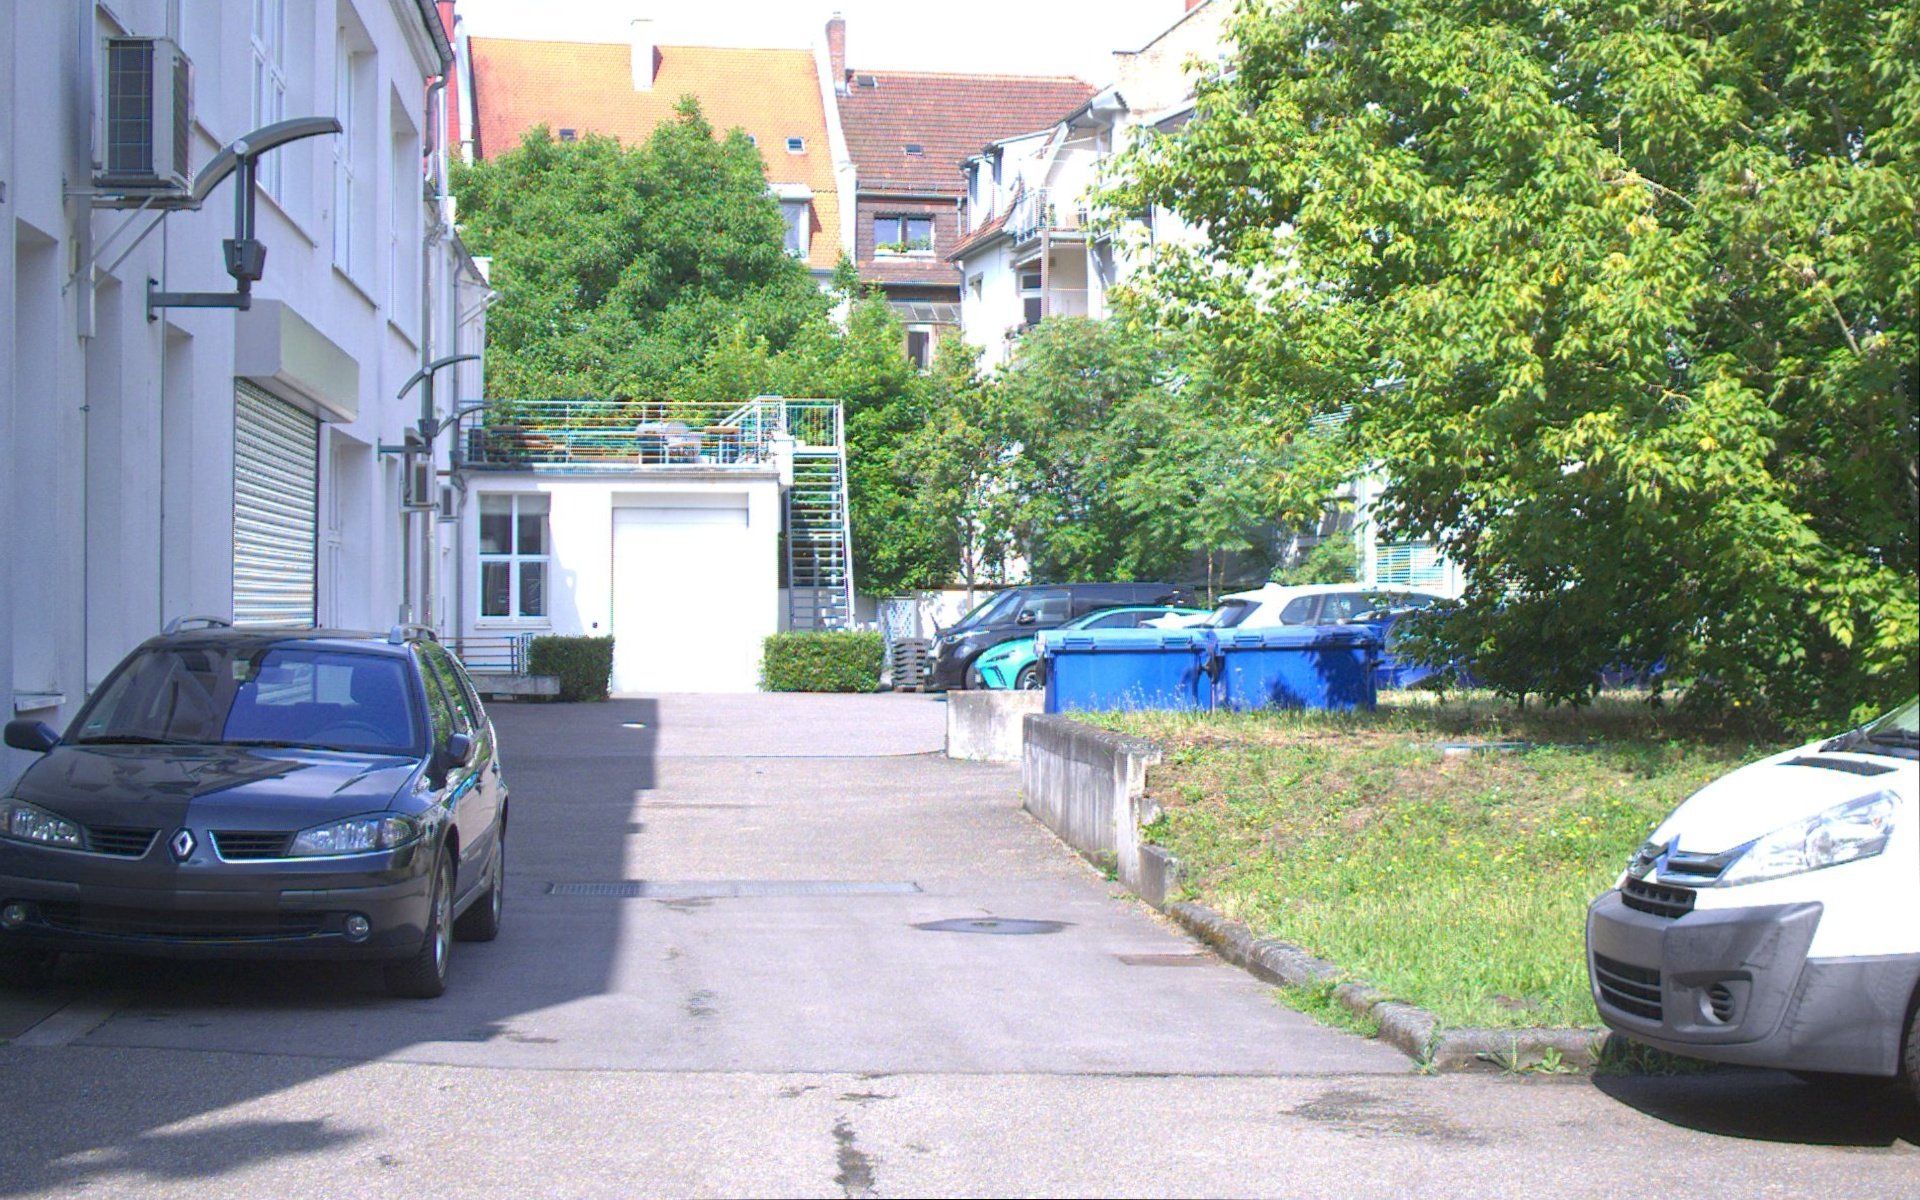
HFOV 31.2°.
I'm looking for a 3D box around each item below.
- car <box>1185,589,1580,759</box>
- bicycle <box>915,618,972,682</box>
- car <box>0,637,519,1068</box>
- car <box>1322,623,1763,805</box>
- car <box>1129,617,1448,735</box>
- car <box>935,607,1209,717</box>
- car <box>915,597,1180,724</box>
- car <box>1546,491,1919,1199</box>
[{"bbox_3d":[4.729,0.820,38.771,3.986,1.739,1.950,1,3,-10],"label":"car"},{"bbox_3d":[-0.326,0.959,66.146,0.640,1.113,1.859,3,2,-14],"label":"bicycle"},{"bbox_3d":[-2.922,0.930,14.451,1.879,1.437,4.341,3,0,-5],"label":"car"},{"bbox_3d":[6.064,1.182,35.966,4.111,1.600,1.756,3,2,-10],"label":"car"},{"bbox_3d":[4.428,1.011,46.535,3.986,1.439,1.630,0,4,-10],"label":"car"},{"bbox_3d":[1.727,0.951,53.507,3.986,1.568,1.630,0,4,-10],"label":"car"},{"bbox_3d":[1.411,0.982,56.271,3.986,1.811,1.664,3,2,-10],"label":"car"},{"bbox_3d":[4.493,0.738,10.603,4.938,1.958,2.000,1,-1,-3],"label":"car"}]
